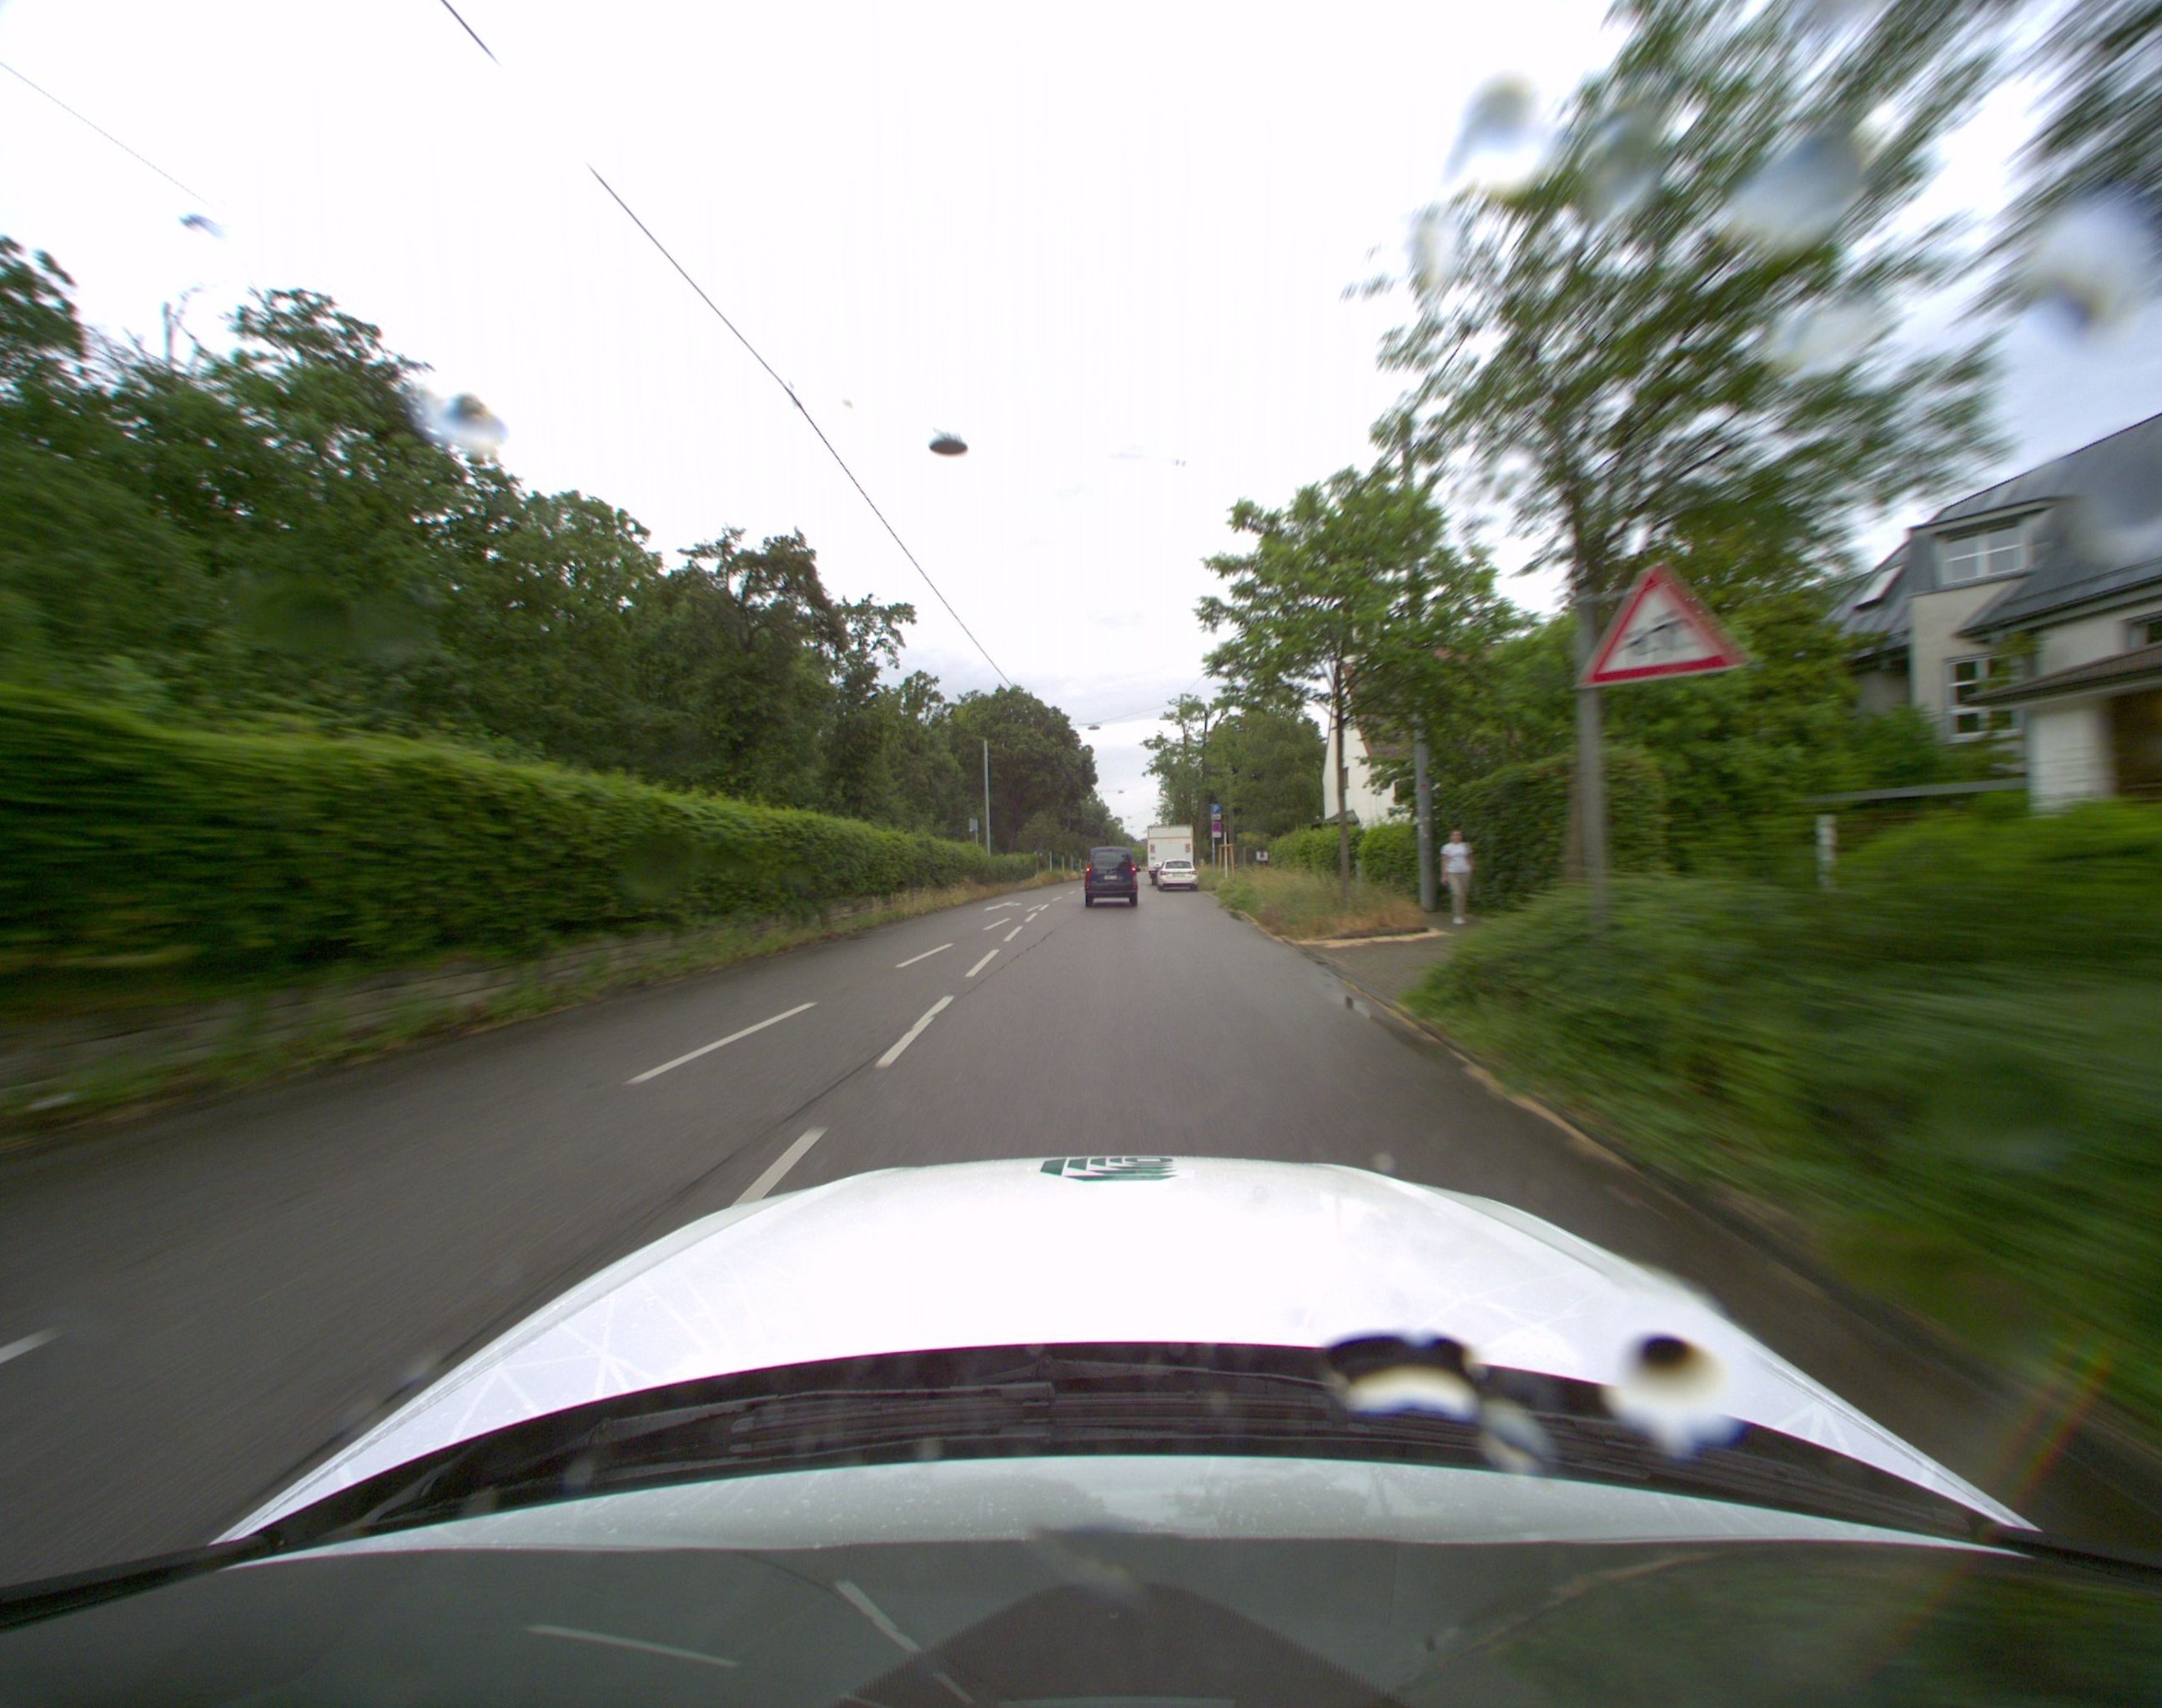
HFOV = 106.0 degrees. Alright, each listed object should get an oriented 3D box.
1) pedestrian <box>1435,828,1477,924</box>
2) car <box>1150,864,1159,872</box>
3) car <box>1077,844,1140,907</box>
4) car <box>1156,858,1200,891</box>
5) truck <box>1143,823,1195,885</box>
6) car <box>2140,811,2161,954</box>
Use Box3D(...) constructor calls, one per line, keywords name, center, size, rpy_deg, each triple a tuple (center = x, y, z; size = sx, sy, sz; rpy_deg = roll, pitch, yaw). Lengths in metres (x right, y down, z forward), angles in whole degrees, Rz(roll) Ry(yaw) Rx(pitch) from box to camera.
Box3D(name="pedestrian", center=(6.783, 0.399, 14.759), size=(0.557, 1.708, 0.518), rpy_deg=(-2, -1, 13))
Box3D(name="car", center=(15.967, 3.120, 177.508), size=(1.984, 1.585, 4.005), rpy_deg=(-2, -1, 4))
Box3D(name="car", center=(0.815, 0.656, 26.271), size=(1.803, 1.797, 3.998), rpy_deg=(-2, -1, -1))
Box3D(name="car", center=(4.507, 0.933, 38.382), size=(1.805, 1.380, 4.289), rpy_deg=(-2, 0, 4))
Box3D(name="truck", center=(5.207, 0.005, 49.132), size=(2.720, 3.387, 6.691), rpy_deg=(-2, -1, 3))
Box3D(name="car", center=(9.487, 0.224, 4.720), size=(1.821, 1.176, 4.009), rpy_deg=(-1, 0, 8))
